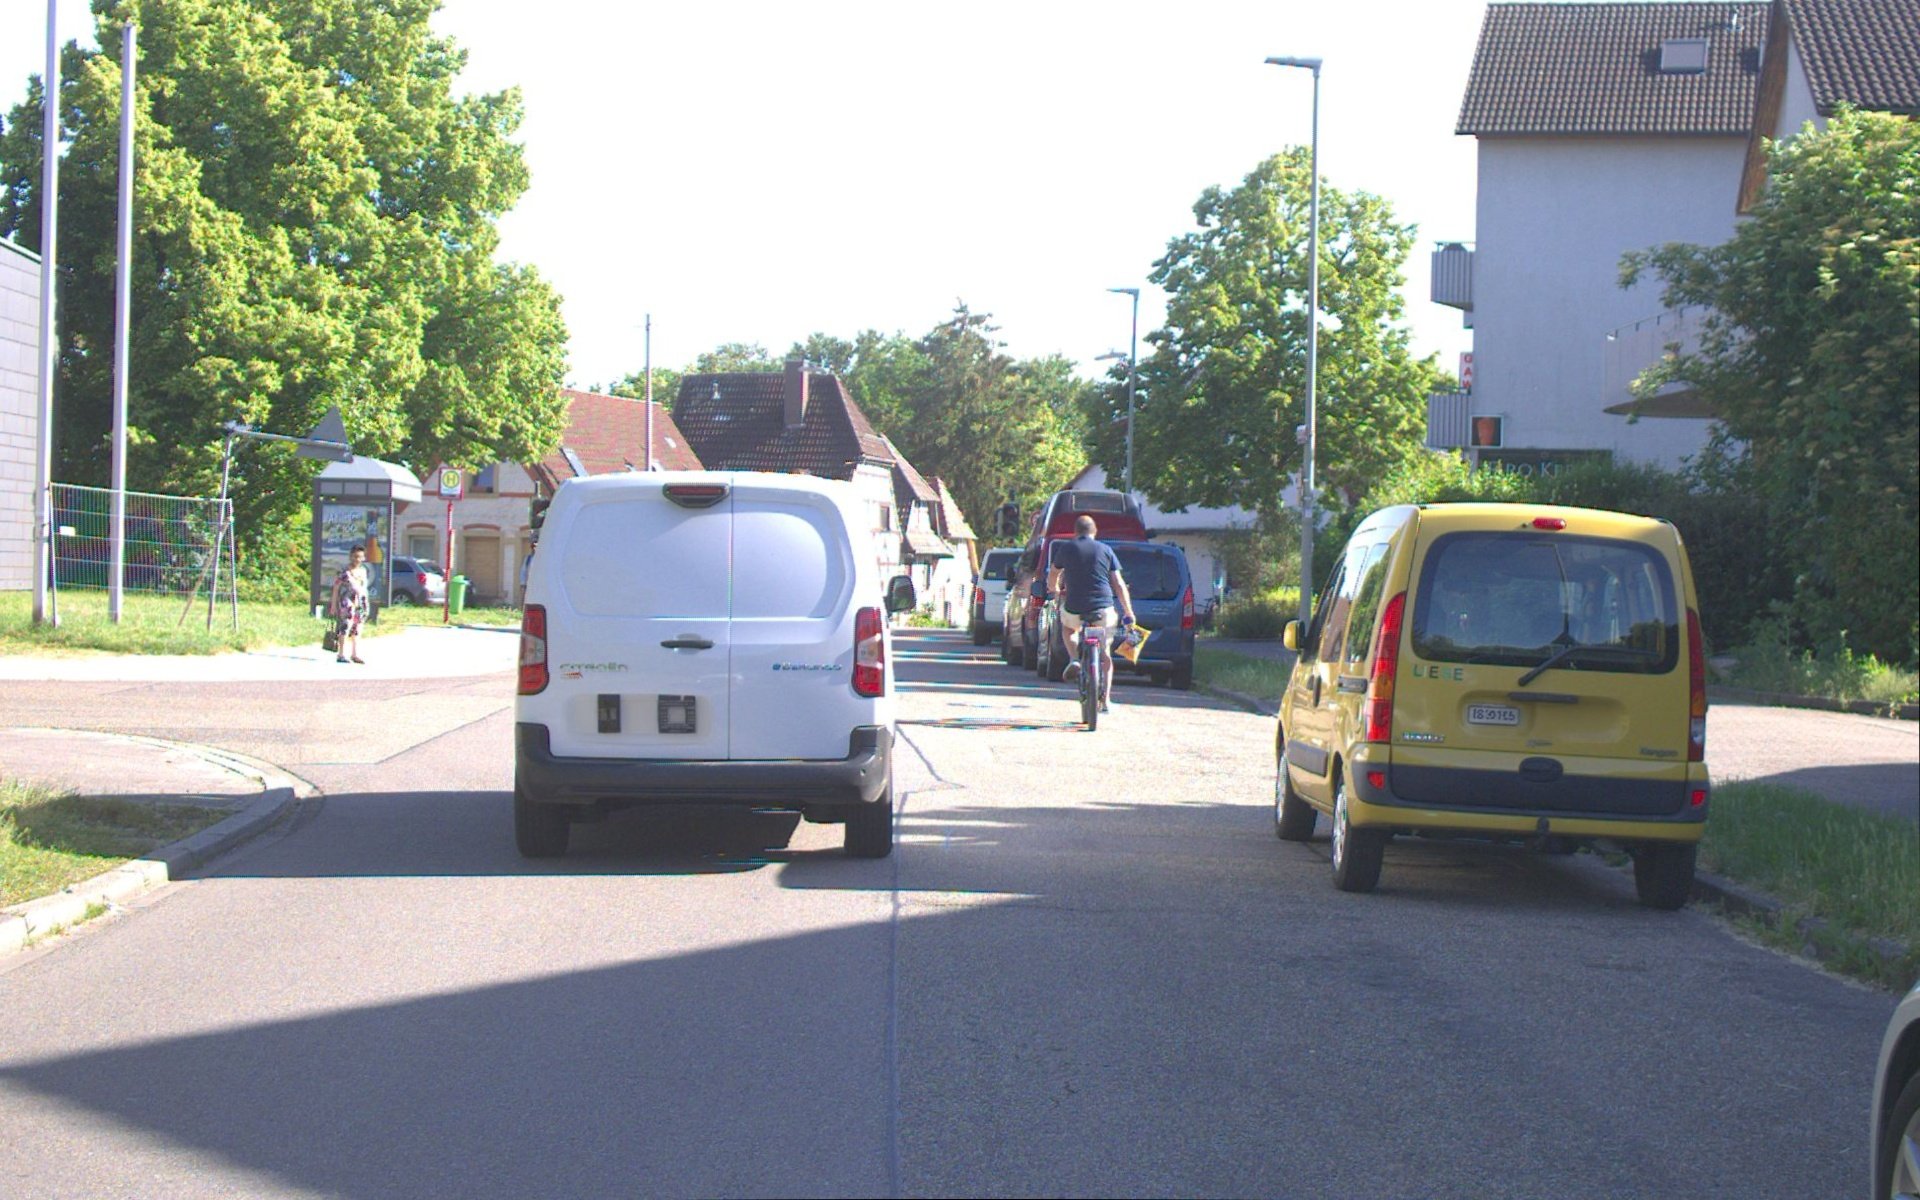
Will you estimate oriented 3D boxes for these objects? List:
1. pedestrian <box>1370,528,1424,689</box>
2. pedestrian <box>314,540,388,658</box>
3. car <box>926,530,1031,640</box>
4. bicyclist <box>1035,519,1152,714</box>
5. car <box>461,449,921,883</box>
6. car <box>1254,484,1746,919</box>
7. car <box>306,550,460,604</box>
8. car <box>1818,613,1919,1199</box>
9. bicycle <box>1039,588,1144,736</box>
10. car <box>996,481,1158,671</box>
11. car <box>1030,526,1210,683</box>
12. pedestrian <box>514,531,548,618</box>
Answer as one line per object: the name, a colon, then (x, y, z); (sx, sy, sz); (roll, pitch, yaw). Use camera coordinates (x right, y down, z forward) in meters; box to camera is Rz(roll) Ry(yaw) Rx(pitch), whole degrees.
pedestrian: (5.032, 0.094, 39.613); (0.483, 1.825, 0.486); (-2, 1, -2)
pedestrian: (-7.713, -0.011, 43.540); (0.510, 1.441, 0.638); (5, 1, 32)
car: (0.349, -0.305, 69.780); (1.804, 2.061, 4.000); (4, 0, -2)
bicyclist: (1.119, 0.133, 28.869); (0.905, 1.579, 0.966); (2, 0, 2)
car: (-1.230, 0.259, 17.546); (1.993, 1.875, 4.289); (2, 1, -1)
car: (2.516, 0.418, 16.932); (1.724, 1.831, 4.000); (2, 1, 0)
car: (-16.636, -0.665, 99.153); (3.980, 1.424, 1.714); (2, 1, 17)
car: (2.782, 0.806, 5.118); (1.826, 1.447, 4.000); (2, 1, -2)
bicycle: (1.088, 0.493, 28.863); (0.787, 1.135, 2.280); (2, 1, 1)
car: (1.662, -0.341, 50.557); (1.866, 2.553, 4.768); (4, 0, -2)
car: (1.973, 0.050, 43.485); (1.804, 1.779, 4.000); (4, 0, -2)
pedestrian: (-9.039, -0.532, 72.425); (0.621, 1.799, 0.640); (2, -1, -2)
